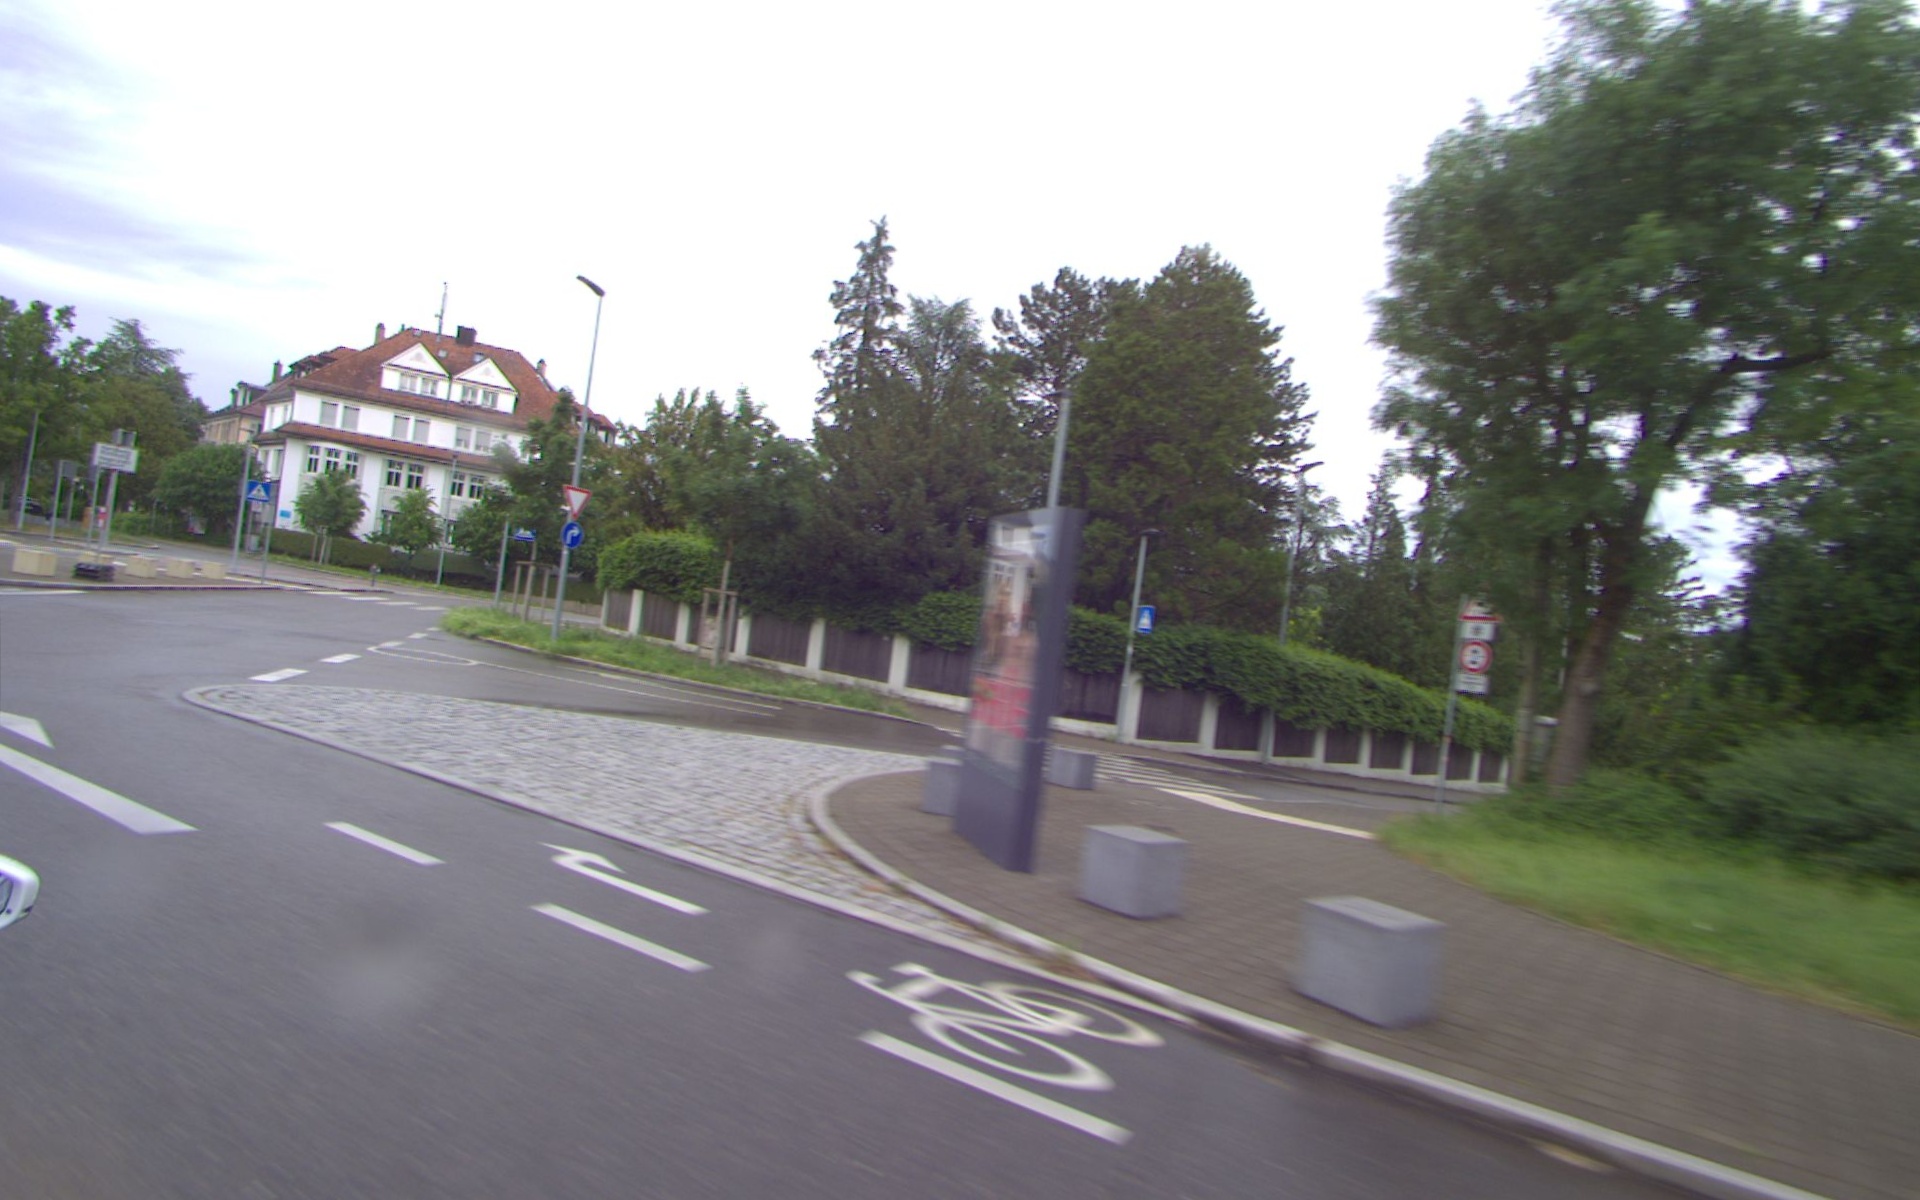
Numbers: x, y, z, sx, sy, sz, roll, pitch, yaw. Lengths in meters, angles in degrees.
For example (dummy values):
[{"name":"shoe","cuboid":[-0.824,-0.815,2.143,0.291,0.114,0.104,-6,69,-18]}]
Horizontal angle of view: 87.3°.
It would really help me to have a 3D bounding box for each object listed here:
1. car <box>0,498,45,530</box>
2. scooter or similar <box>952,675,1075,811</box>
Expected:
[{"name":"car","cuboid":[-73.296,-6.737,78.385,3.936,2.037,1.996,6,-2,34]},{"name":"scooter or similar","cuboid":[0.570,1.448,10.174,0.516,1.219,1.352,6,-4,32]}]
